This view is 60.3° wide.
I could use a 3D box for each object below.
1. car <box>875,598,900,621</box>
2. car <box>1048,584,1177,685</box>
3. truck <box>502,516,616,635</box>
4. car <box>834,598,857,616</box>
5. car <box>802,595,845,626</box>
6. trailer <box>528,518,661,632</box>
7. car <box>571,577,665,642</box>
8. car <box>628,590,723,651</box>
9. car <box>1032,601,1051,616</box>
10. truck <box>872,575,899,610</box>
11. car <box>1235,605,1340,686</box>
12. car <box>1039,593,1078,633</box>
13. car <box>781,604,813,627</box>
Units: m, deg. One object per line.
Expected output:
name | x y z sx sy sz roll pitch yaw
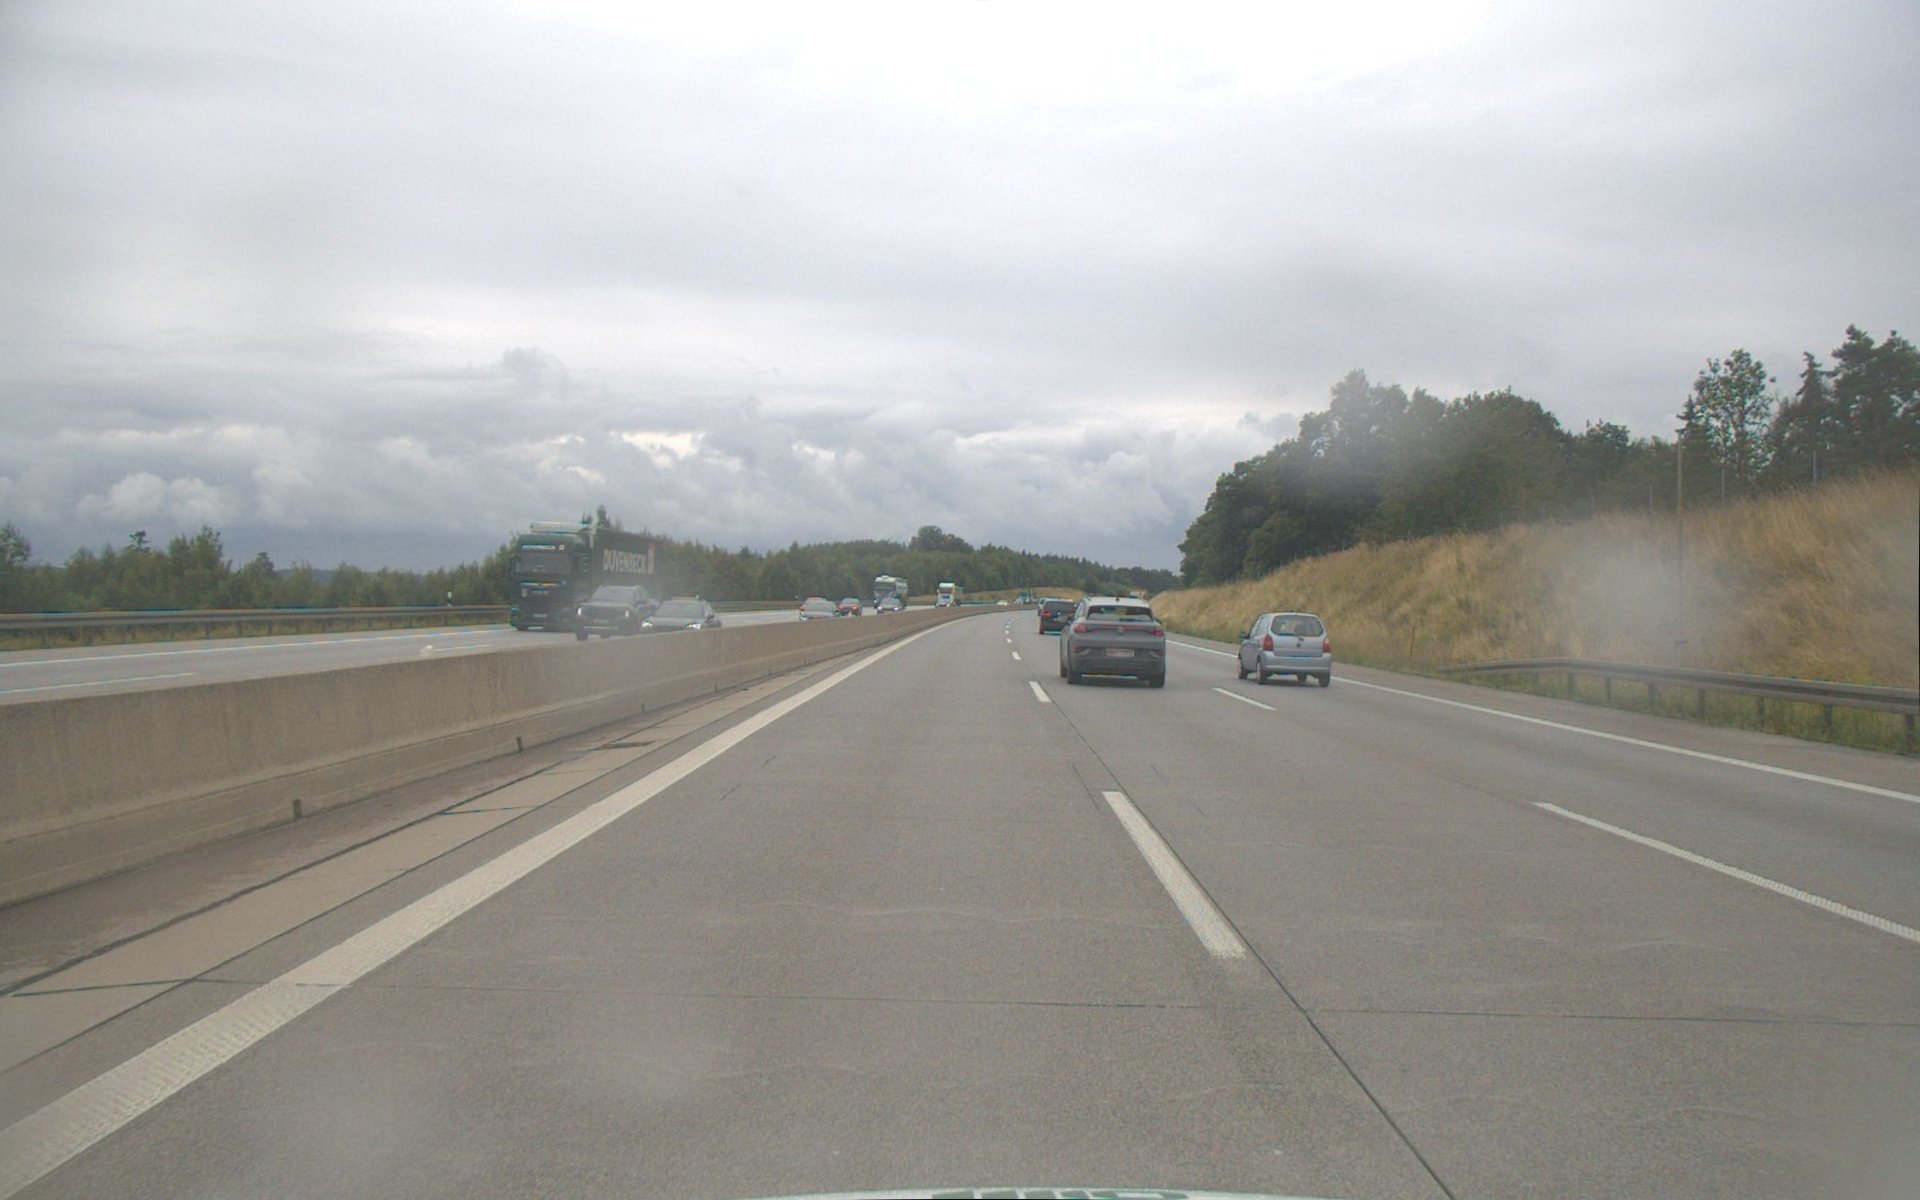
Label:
car | -5.759 0.743 131.874 1.686 1.615 4.972 1 1 1
car | 2.873 0.587 32.228 1.859 1.719 5.265 -1 1 -2
truck | -15.640 -0.970 64.895 2.732 4.337 6.051 3 1 1
car | -9.457 0.552 137.187 1.487 1.417 4.487 2 0 1
car | -6.759 0.508 82.306 1.735 1.381 4.366 -1 1 0
trailer | -15.465 -1.107 71.149 2.708 4.356 12.170 2 1 1
car | -11.395 0.262 55.446 1.952 2.008 5.331 -1 1 1
car | -8.021 0.550 46.940 1.953 1.545 4.397 -1 1 -1
car | 9.137 0.963 185.666 1.802 1.526 4.004 -1 1 7
truck | -9.142 -0.933 202.360 2.690 4.068 6.932 2 1 1
car | 6.791 0.912 34.613 1.455 1.496 3.504 2 1 0
car | 4.710 0.617 79.865 1.748 1.777 3.916 -1 1 2
car | -11.339 1.068 115.477 1.682 1.534 4.487 1 -1 1
